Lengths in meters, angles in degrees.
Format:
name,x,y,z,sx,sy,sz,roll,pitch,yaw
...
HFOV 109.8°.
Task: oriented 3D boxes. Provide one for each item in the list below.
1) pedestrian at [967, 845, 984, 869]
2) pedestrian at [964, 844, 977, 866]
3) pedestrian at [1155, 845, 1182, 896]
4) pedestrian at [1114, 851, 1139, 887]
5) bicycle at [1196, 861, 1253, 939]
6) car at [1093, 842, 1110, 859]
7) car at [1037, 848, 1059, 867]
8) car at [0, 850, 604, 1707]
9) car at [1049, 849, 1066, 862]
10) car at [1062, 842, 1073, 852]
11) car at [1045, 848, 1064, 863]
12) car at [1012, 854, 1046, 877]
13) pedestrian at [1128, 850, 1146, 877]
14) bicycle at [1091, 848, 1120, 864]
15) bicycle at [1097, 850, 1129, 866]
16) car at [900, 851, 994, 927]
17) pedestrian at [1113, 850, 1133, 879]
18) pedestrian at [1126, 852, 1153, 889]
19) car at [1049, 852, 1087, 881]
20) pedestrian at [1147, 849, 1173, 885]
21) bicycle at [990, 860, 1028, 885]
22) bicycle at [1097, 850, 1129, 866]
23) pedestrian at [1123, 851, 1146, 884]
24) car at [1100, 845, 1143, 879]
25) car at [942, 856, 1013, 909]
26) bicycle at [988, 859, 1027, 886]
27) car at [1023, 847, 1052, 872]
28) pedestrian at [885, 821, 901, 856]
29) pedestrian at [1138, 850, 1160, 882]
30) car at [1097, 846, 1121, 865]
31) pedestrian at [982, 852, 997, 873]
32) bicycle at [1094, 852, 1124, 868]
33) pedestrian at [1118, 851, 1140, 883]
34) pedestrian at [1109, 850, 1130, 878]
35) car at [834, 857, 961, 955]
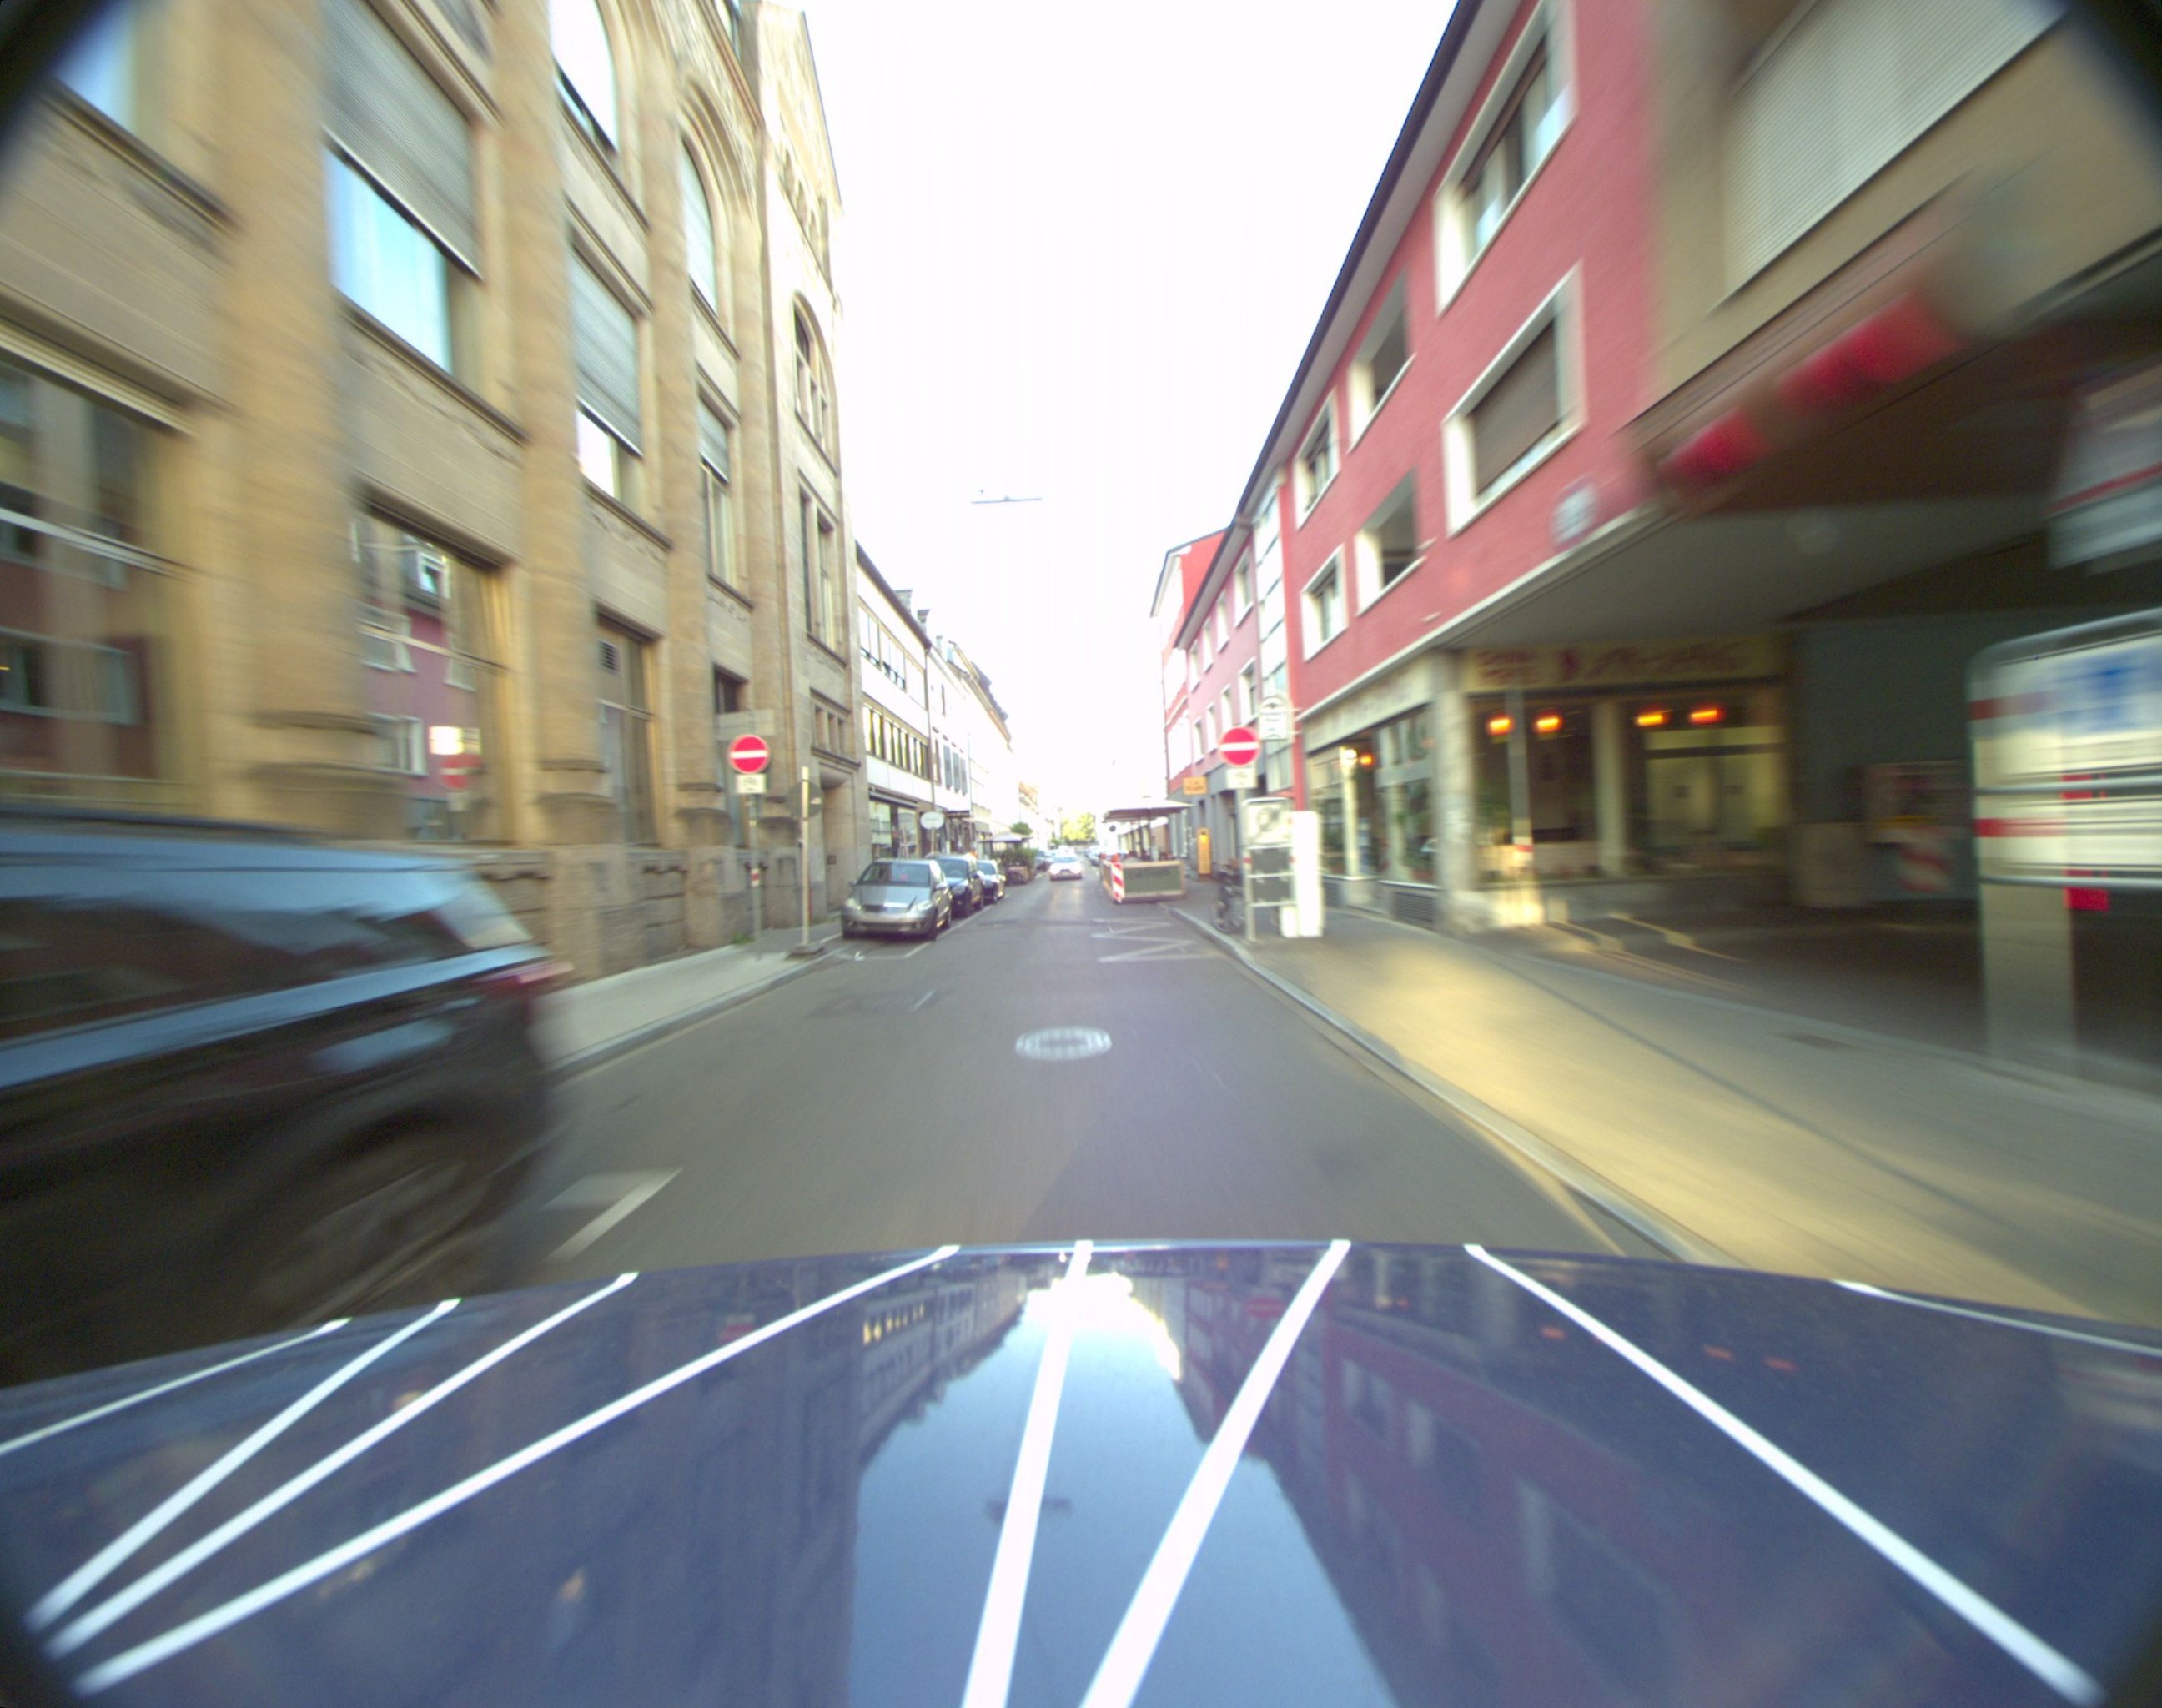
name,x,y,z,sx,sy,sz,roll,pitch,yaw
pedestrian,-5.619,0.156,40.397,0.736,1.236,0.646,-3,2,0
pedestrian,-6.449,0.044,44.369,0.567,1.236,0.609,-3,2,0
pedestrian,2.589,0.471,22.504,0.612,1.464,0.547,-4,2,-8
pedestrian,1.410,0.454,23.384,0.612,1.057,0.547,-4,2,-8
bicycle,2.409,0.735,12.913,0.545,1.185,1.842,-4,1,0
car,2.654,-0.505,99.735,1.998,2.030,4.458,-4,1,0
car,-3.311,0.322,76.984,1.998,1.667,4.458,-4,1,0
car,-2.978,0.946,0.636,1.999,1.773,4.933,-3,1,-1
car,-3.138,0.198,102.939,1.998,1.667,4.458,-4,1,0
car,-2.760,-1.329,153.268,1.998,1.884,4.458,-4,1,0
car,-3.198,0.119,91.960,1.998,1.667,4.458,-4,1,0
car,-3.449,0.736,51.042,1.940,1.288,3.999,-4,1,0
pedestrian,2.246,0.363,30.424,0.559,1.031,0.492,-4,2,-8
bicycle,2.211,0.190,68.445,2.480,1.322,0.784,-4,2,6
bicycle,2.579,0.325,61.560,2.480,1.172,0.784,-4,2,6
car,-3.638,0.885,21.391,1.674,1.796,4.239,-4,1,1
pedestrian,1.617,0.407,29.401,0.634,1.061,0.560,-4,2,-8
pedestrian,1.742,0.482,22.640,0.612,1.057,0.547,-4,2,-8
car,-0.697,0.657,43.015,1.998,1.414,4.458,-4,1,0
pedestrian,2.424,0.403,23.387,0.612,1.057,0.547,-4,2,-8
bicycle,-3.686,0.939,38.845,1.873,1.221,0.596,0,1,0
bicycle,2.618,0.339,62.481,2.480,1.172,0.784,-4,2,6
pedestrian,1.818,0.456,25.915,0.612,1.057,0.547,-4,2,-8
car,1.930,0.369,37.245,1.722,1.452,4.134,-4,1,-2
car,-3.517,0.917,26.687,1.694,1.507,4.990,-4,1,0
bicycle,-3.690,0.933,38.161,1.873,1.295,0.596,0,1,0
car,-3.487,0.395,61.219,1.998,1.835,3.999,-4,1,0
pedestrian,-7.325,-0.609,29.675,0.437,1.342,0.424,-4,2,-3
pedestrian,2.363,0.406,26.576,0.603,1.057,0.547,-4,2,-8
car,2.639,0.105,72.018,1.998,1.667,4.458,-4,1,0
pedestrian,-5.571,0.524,46.373,0.736,1.236,0.646,-4,2,2
bicycle,2.405,0.532,65.586,2.480,1.172,0.784,-4,2,6
pedestrian,1.686,0.447,26.824,0.612,1.057,0.547,-4,2,-8
pedestrian,1.523,0.395,30.039,0.673,1.057,0.547,-4,2,-8
car,-3.668,0.955,15.908,1.778,1.656,3.998,-3,1,-3
